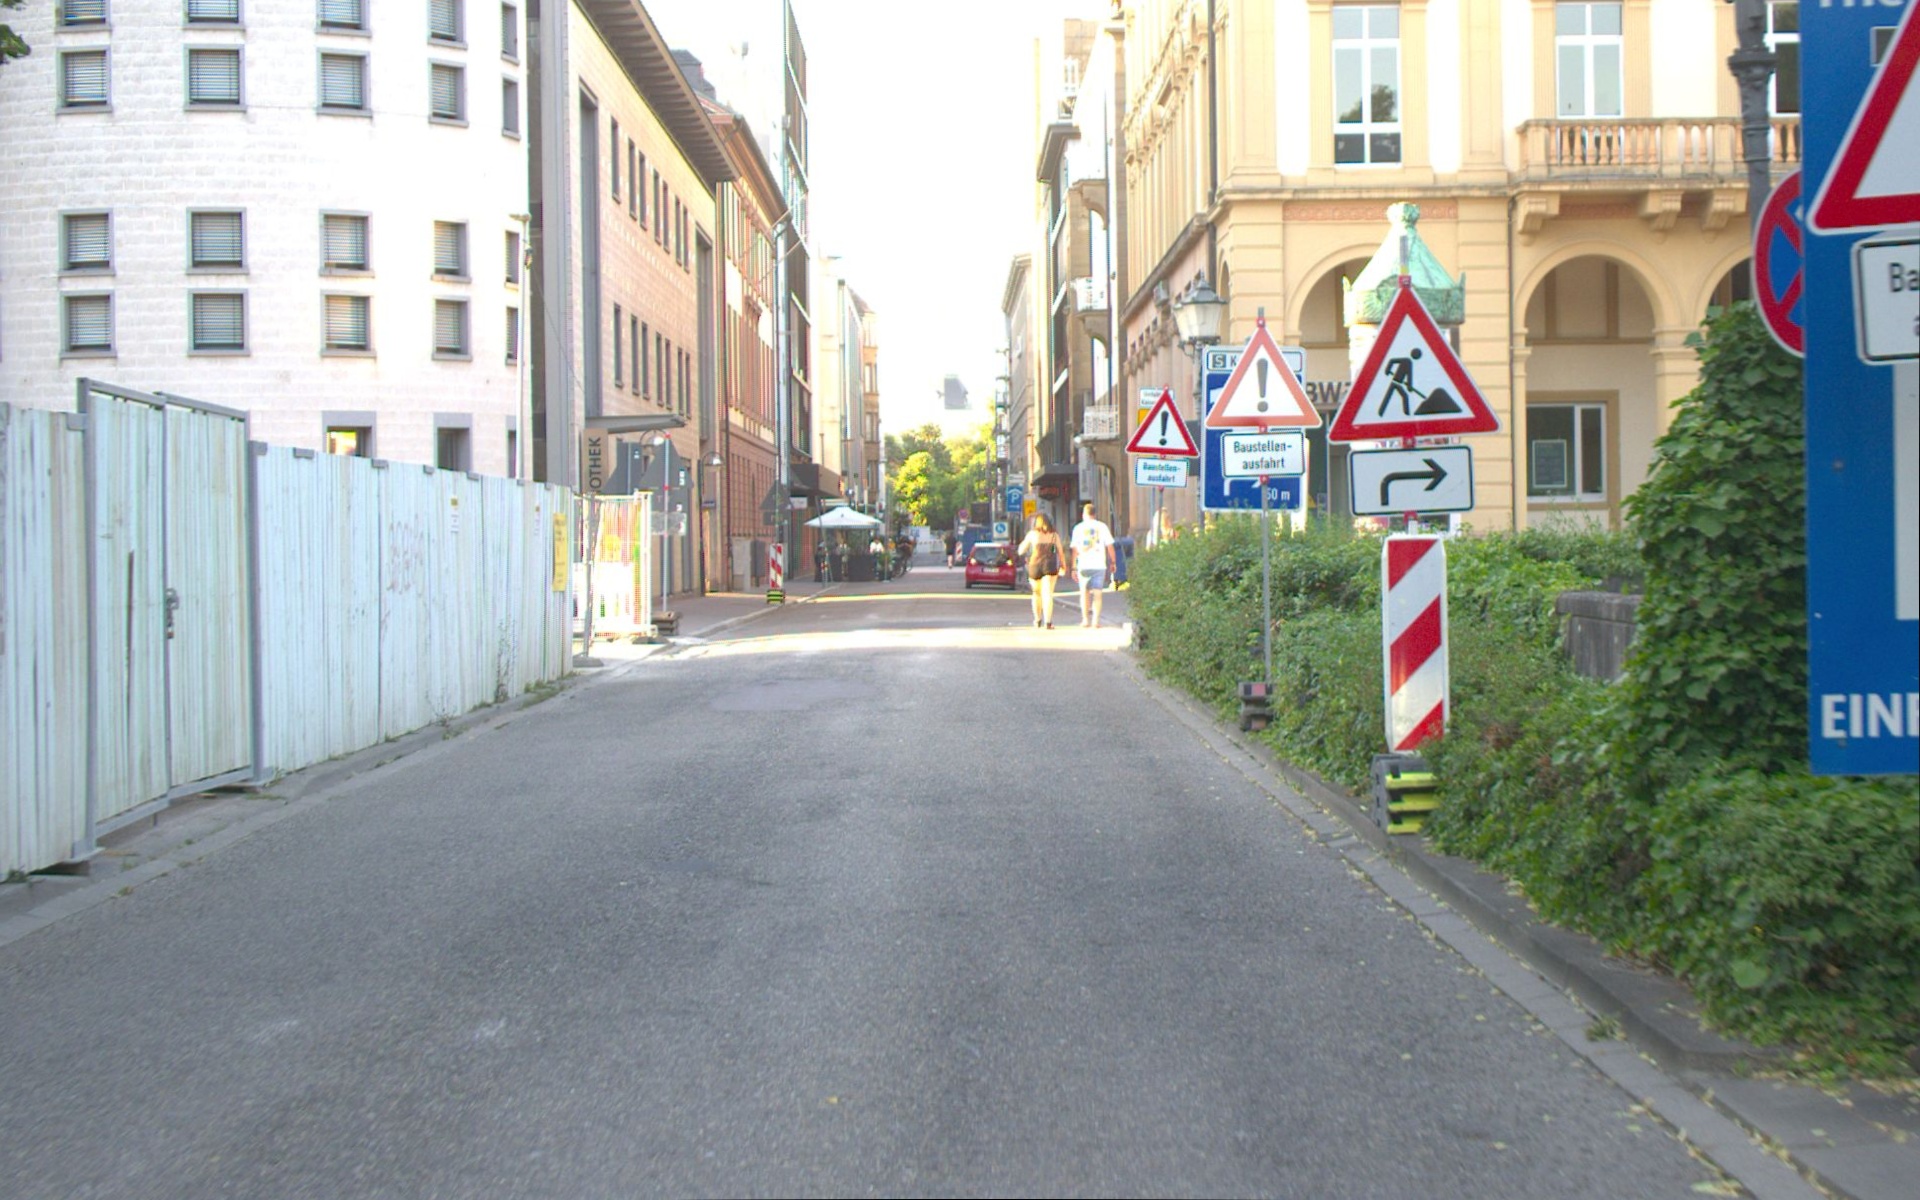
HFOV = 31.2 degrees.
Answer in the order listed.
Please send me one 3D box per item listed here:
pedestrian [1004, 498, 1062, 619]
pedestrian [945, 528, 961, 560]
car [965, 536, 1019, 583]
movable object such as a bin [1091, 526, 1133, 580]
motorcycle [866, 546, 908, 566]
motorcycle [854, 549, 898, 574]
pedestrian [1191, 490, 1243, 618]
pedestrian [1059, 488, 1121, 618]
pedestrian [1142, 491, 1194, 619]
[{"bbox_3d":[1.066,-0.603,50.161,0.775,1.740,0.875,-1,1,-1],"label":"pedestrian"},{"bbox_3d":[-0.355,-2.912,179.364,0.804,1.667,0.888,-1,1,2],"label":"pedestrian"},{"bbox_3d":[1.035,-1.289,110.497,1.649,1.422,3.535,2,1,0],"label":"car"},{"bbox_3d":[3.950,-1.224,89.513,0.990,1.387,1.241,-1,1,-1],"label":"movable object such as a bin"},{"bbox_3d":[-3.176,-1.931,150.367,1.801,0.872,0.560,-1,1,-4],"label":"motorcycle"},{"bbox_3d":[-3.470,-1.585,142.186,1.801,1.037,0.494,-1,1,-4],"label":"motorcycle"},{"bbox_3d":[3.655,-0.649,48.902,0.636,1.797,0.772,-1,1,-1],"label":"pedestrian"},{"bbox_3d":[1.899,-0.692,50.283,0.812,1.869,0.875,-1,1,-1],"label":"pedestrian"},{"bbox_3d":[2.955,-0.642,48.876,0.636,1.797,0.772,-1,1,-1],"label":"pedestrian"}]
